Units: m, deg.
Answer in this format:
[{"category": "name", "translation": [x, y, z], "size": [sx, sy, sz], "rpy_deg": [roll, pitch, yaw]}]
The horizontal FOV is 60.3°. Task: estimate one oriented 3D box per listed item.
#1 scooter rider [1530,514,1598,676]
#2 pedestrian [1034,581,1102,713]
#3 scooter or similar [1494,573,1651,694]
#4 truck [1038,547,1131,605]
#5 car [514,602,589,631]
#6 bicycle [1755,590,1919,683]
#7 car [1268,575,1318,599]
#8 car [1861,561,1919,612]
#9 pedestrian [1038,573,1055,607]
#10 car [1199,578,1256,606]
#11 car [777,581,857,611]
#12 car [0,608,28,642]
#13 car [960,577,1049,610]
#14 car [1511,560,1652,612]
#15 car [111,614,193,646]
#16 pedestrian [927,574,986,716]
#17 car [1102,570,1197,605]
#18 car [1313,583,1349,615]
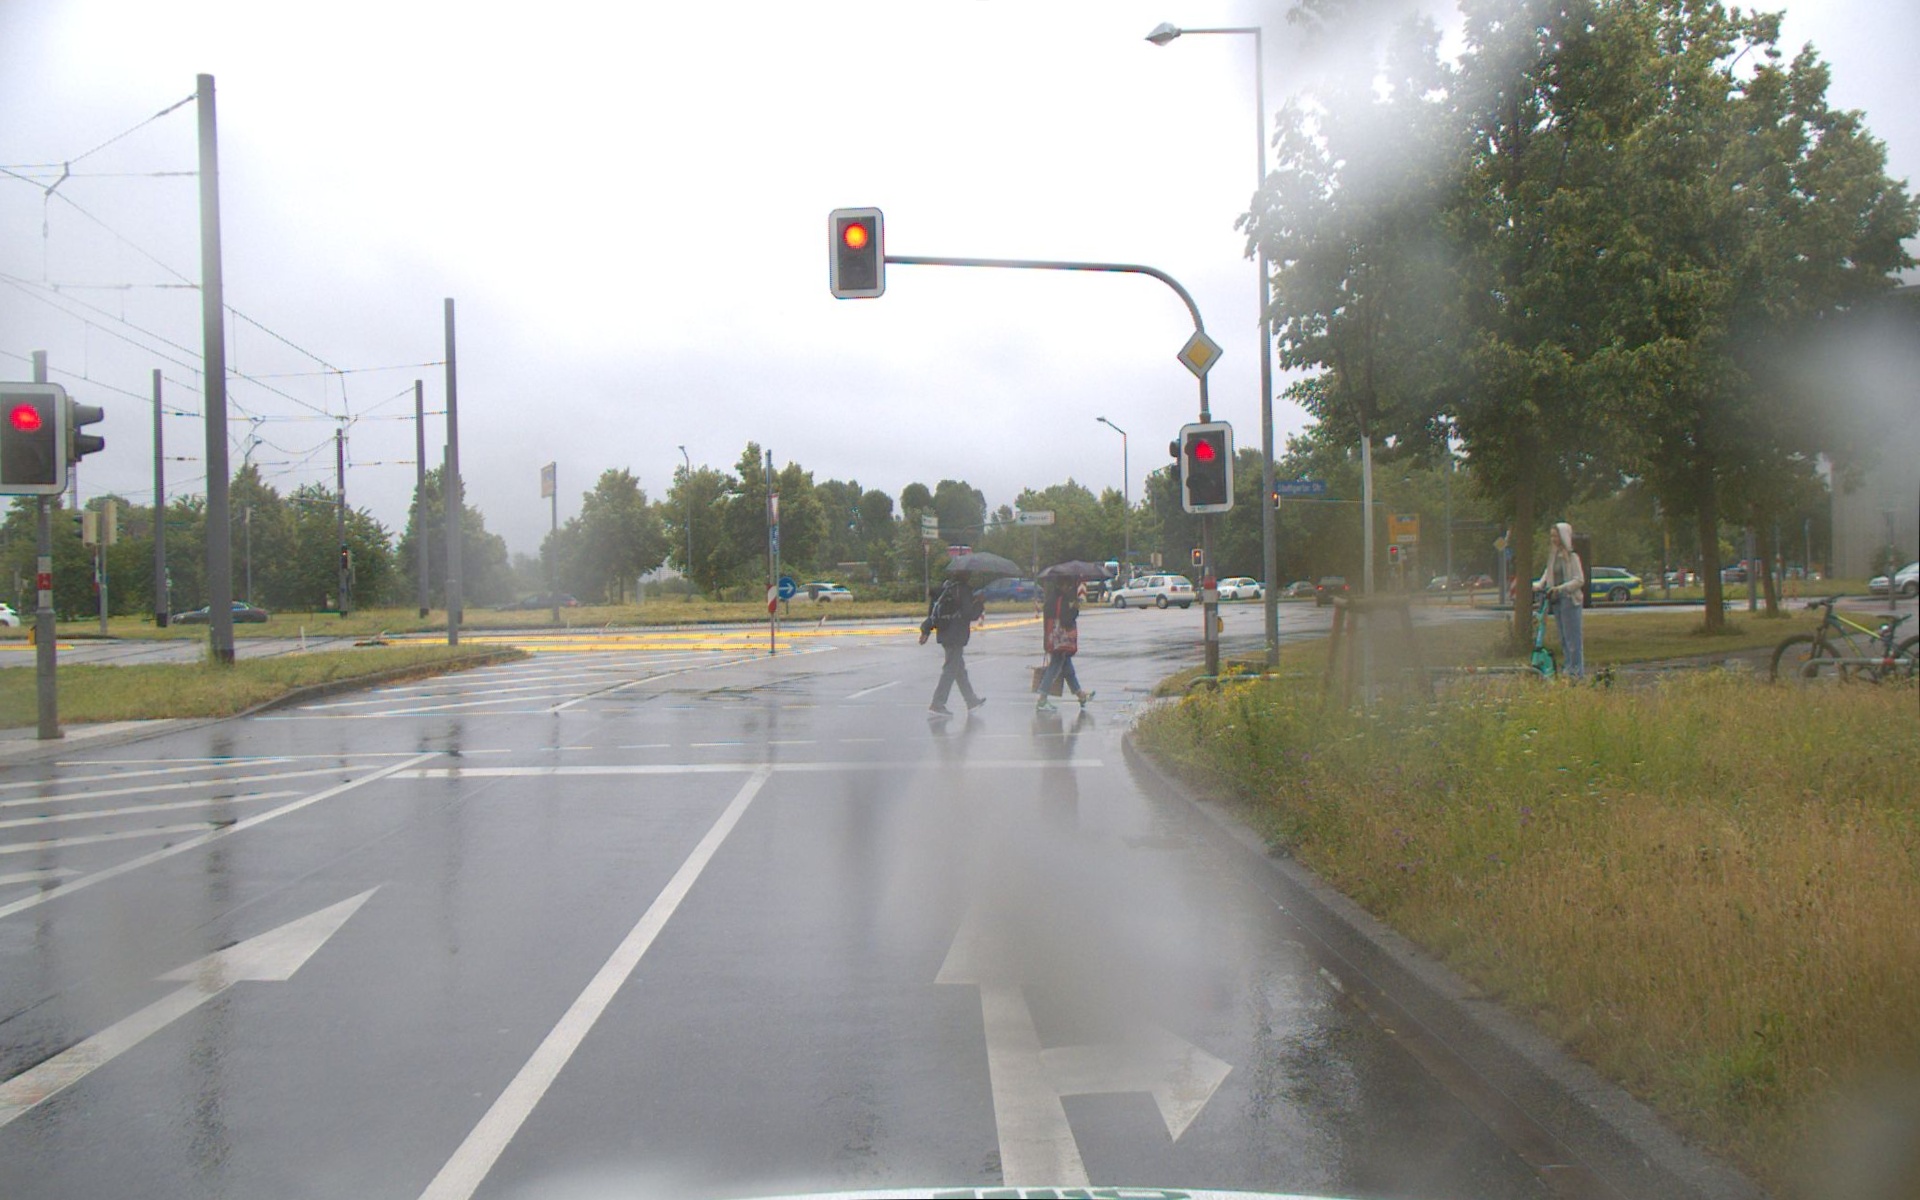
[{"category": "scooter rider", "translation": [6.637, -0.054, 18.185], "size": [0.521, 1.739, 0.433], "rpy_deg": [-2, 0, -7]}, {"category": "pedestrian", "translation": [1.260, 0.543, 19.365], "size": [0.667, 1.486, 0.573], "rpy_deg": [-2, -1, -5]}, {"category": "scooter or similar", "translation": [6.720, 0.367, 18.177], "size": [1.553, 1.281, 0.447], "rpy_deg": [1, -1, -2]}, {"category": "truck", "translation": [6.444, -1.151, 84.234], "size": [2.411, 2.733, 8.058], "rpy_deg": [1, 0, 22]}, {"category": "car", "translation": [-23.077, 0.922, 93.493], "size": [3.898, 1.479, 1.621], "rpy_deg": [-1, 0, -6]}, {"category": "bicycle", "translation": [8.165, 0.318, 14.926], "size": [0.376, 0.800, 1.837], "rpy_deg": [2, -1, -34]}, {"category": "car", "translation": [25.040, -0.988, 124.230], "size": [1.768, 1.691, 4.387], "rpy_deg": [-1, 0, 40]}, {"category": "car", "translation": [37.336, -0.482, 63.260], "size": [4.662, 1.883, 2.000], "rpy_deg": [1, -1, 1]}, {"category": "pedestrian", "translation": [3.390, -0.384, 64.965], "size": [0.445, 1.327, 0.484], "rpy_deg": [-1, 0, 38]}, {"category": "car", "translation": [17.782, -0.522, 109.709], "size": [1.769, 1.691, 4.386], "rpy_deg": [1, -1, 40]}, {"category": "car", "translation": [-7.549, -0.203, 87.158], "size": [4.025, 1.479, 1.619], "rpy_deg": [-1, 1, 32]}, {"category": "car", "translation": [-43.566, 1.157, 72.391], "size": [1.589, 1.479, 4.612], "rpy_deg": [-1, 1, 31]}, {"category": "car", "translation": [2.072, -0.281, 77.256], "size": [3.907, 1.479, 1.617], "rpy_deg": [-1, 1, 36]}, {"category": "car", "translation": [23.639, -0.543, 63.014], "size": [4.659, 1.883, 2.001], "rpy_deg": [-1, 0, 5]}, {"category": "car", "translation": [-41.817, 1.550, 85.627], "size": [1.594, 1.570, 3.461], "rpy_deg": [1, -1, 43]}, {"category": "pedestrian", "translation": [-0.044, 0.489, 18.430], "size": [0.608, 1.549, 0.741], "rpy_deg": [1, 0, -2]}, {"category": "car", "translation": [8.176, -0.526, 71.671], "size": [3.917, 1.479, 1.613], "rpy_deg": [0, 1, 43]}, {"category": "car", "translation": [18.316, -0.069, 81.764], "size": [1.583, 1.479, 3.991], "rpy_deg": [-1, 1, 11]}]
